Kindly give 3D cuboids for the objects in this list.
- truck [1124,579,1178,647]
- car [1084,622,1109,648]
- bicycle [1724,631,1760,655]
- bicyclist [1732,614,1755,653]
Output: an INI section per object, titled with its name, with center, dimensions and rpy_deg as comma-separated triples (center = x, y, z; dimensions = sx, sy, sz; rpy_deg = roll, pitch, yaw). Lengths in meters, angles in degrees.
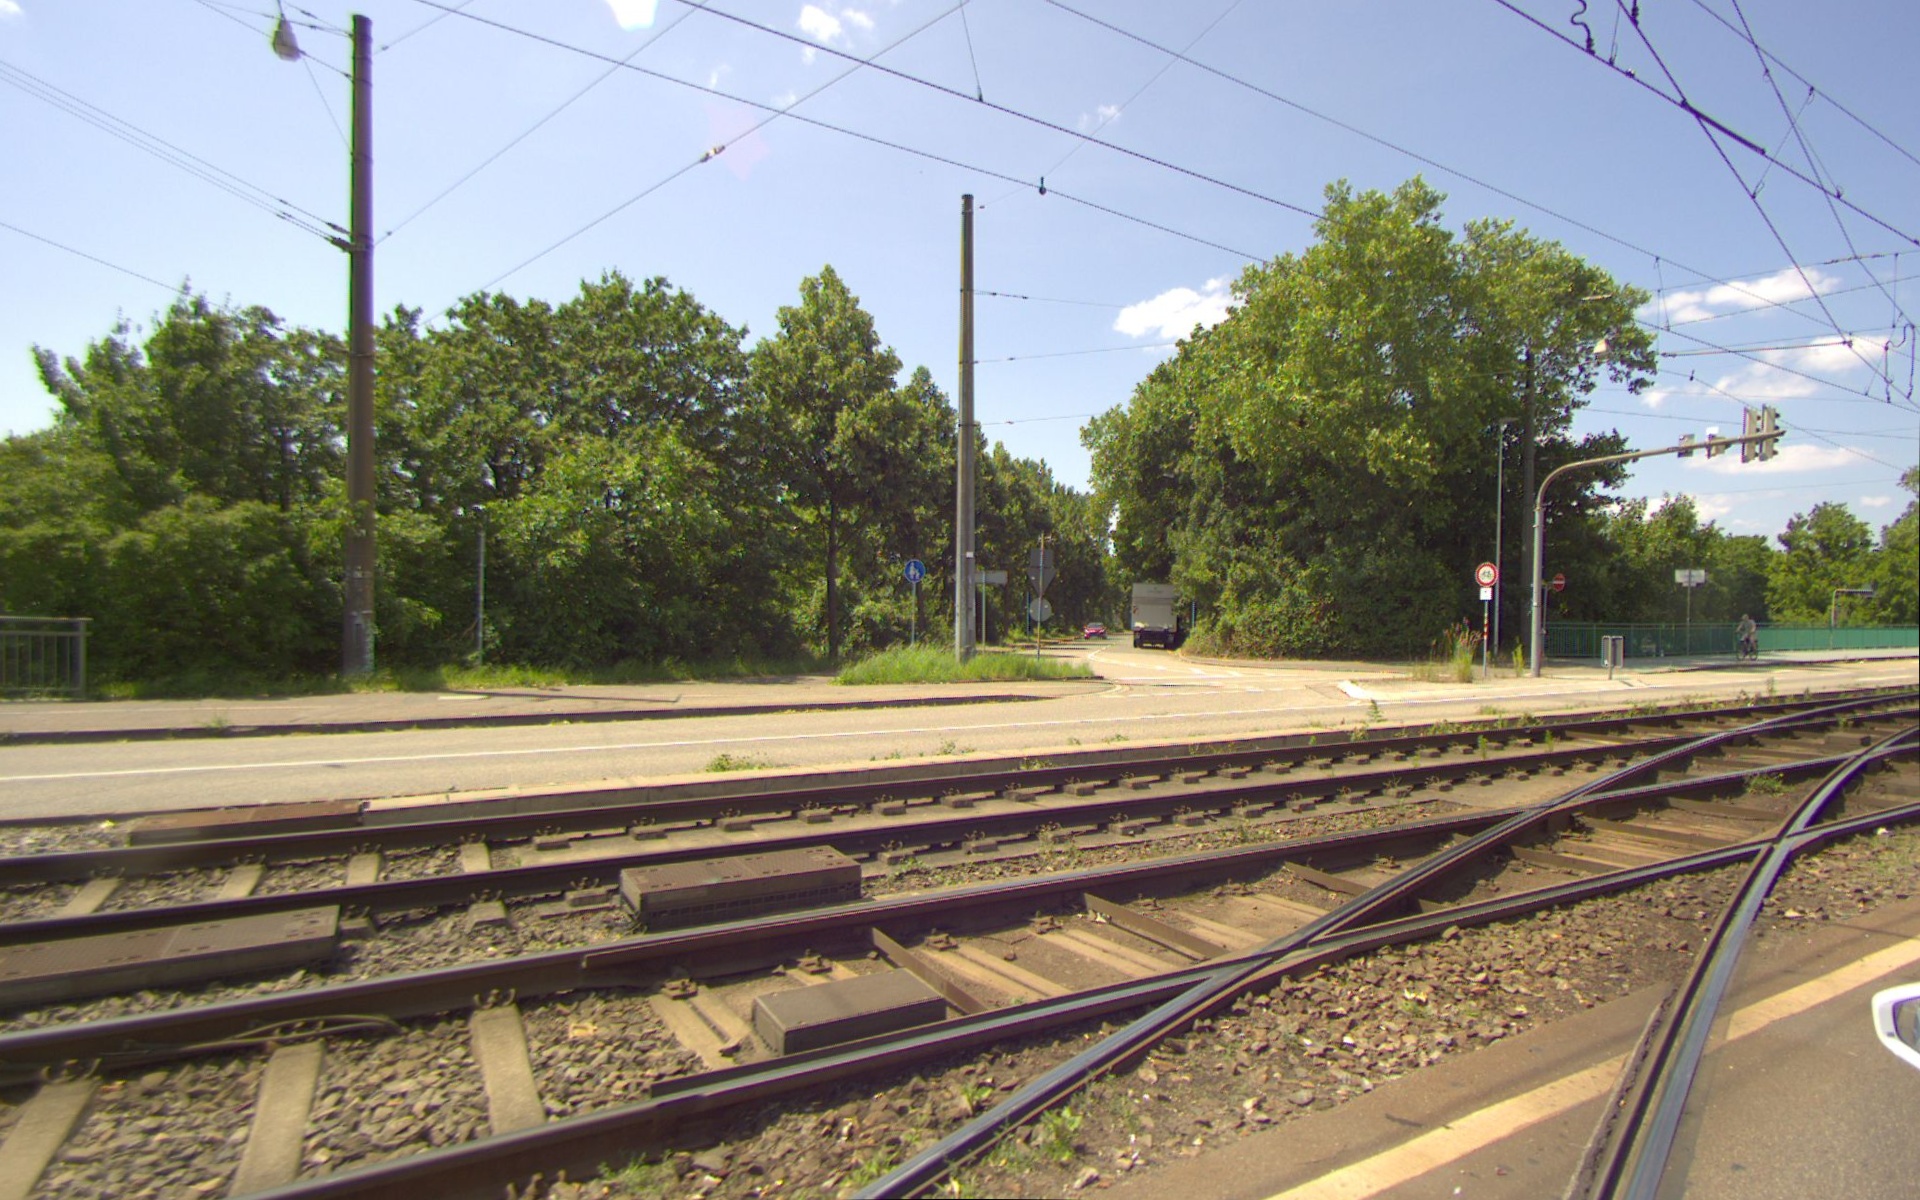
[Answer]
[truck]
center = 11.114, 0.741, 58.870
dimensions = 2.790, 3.704, 5.295
rpy_deg = 1, 0, 8
[car]
center = 11.549, 2.915, 84.760
dimensions = 1.959, 2.040, 4.002
rpy_deg = 2, 0, 8
[bicycle]
center = 30.305, 1.663, 38.934
dimensions = 1.722, 0.880, 0.466
rpy_deg = 1, 1, -30
[bicyclist]
center = 30.387, 1.293, 38.969
dimensions = 0.625, 1.494, 0.454
rpy_deg = 1, 1, -30
